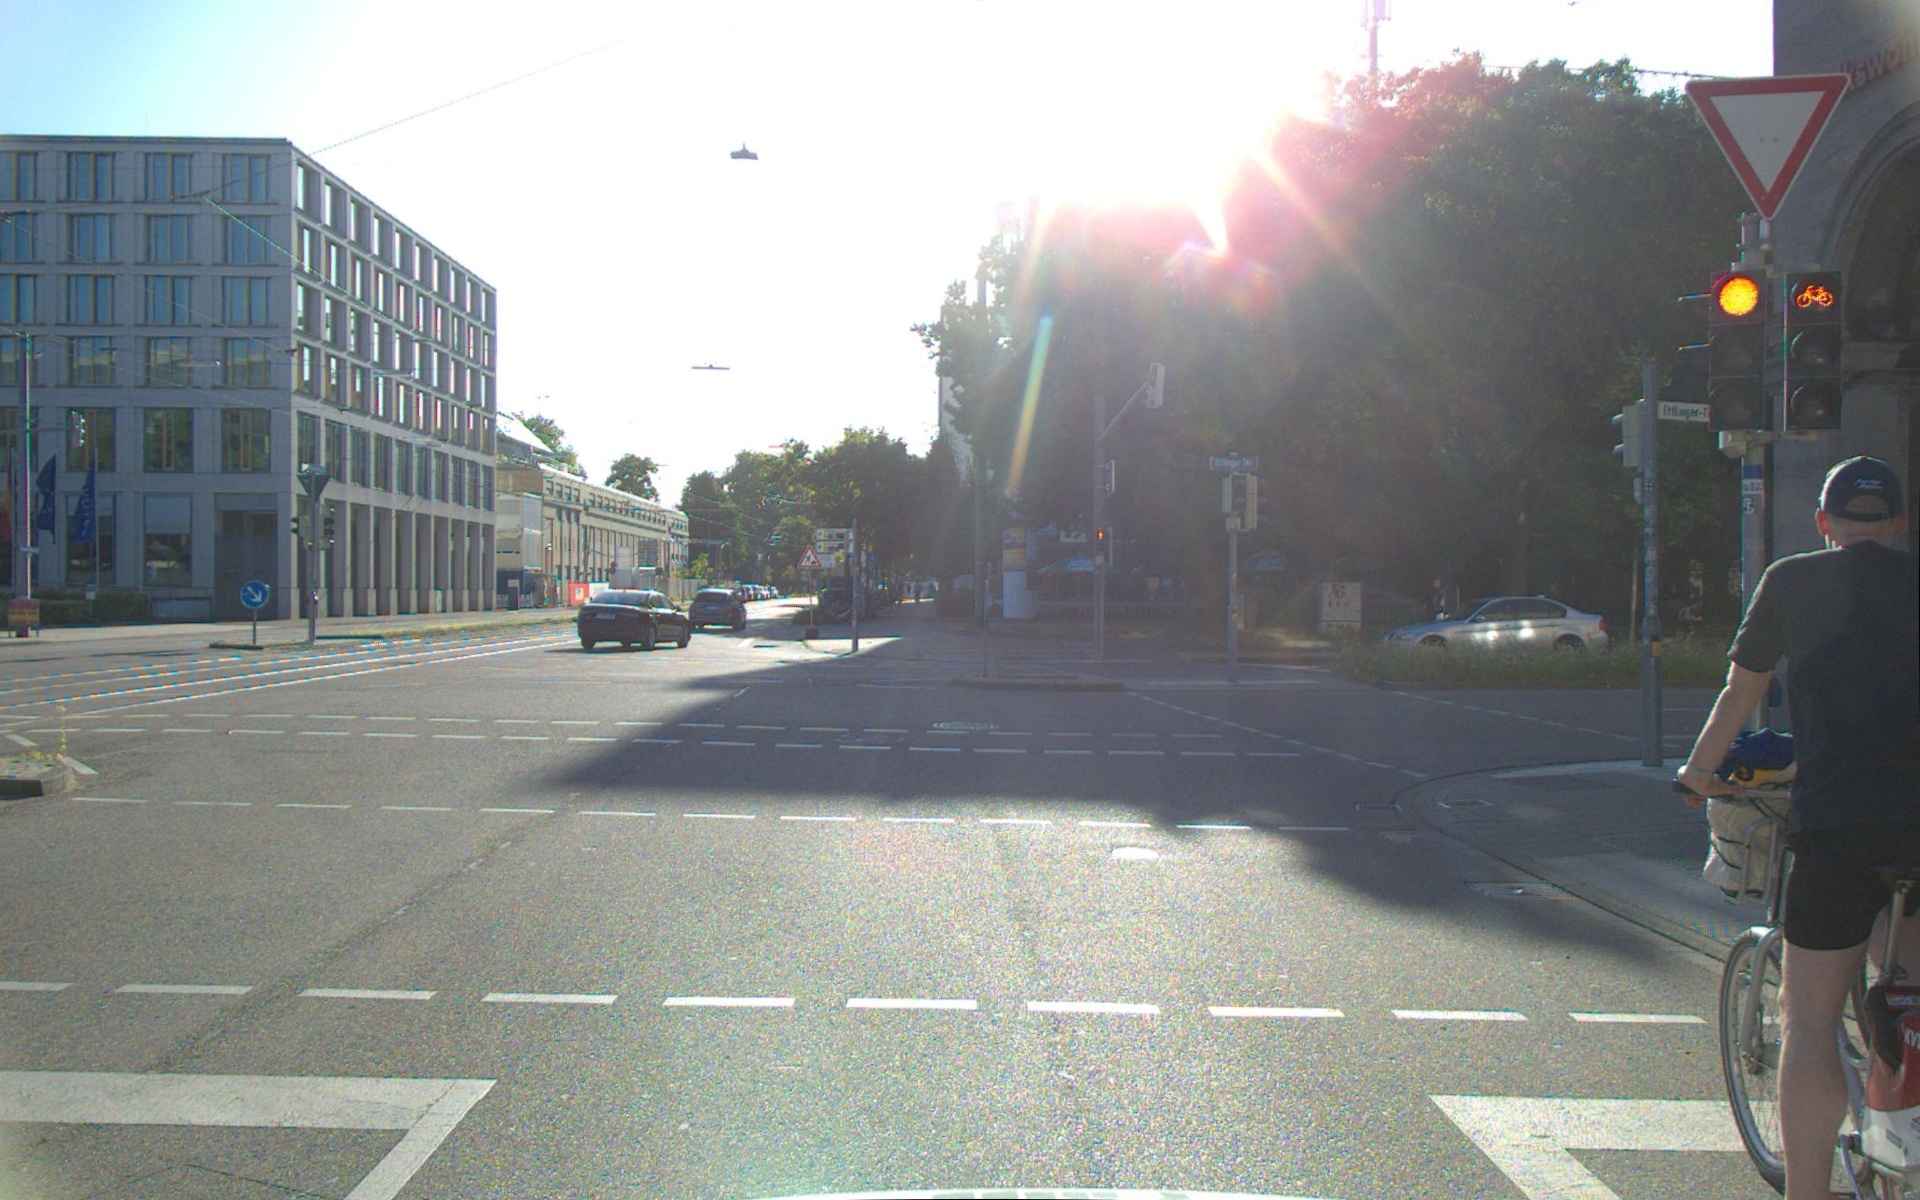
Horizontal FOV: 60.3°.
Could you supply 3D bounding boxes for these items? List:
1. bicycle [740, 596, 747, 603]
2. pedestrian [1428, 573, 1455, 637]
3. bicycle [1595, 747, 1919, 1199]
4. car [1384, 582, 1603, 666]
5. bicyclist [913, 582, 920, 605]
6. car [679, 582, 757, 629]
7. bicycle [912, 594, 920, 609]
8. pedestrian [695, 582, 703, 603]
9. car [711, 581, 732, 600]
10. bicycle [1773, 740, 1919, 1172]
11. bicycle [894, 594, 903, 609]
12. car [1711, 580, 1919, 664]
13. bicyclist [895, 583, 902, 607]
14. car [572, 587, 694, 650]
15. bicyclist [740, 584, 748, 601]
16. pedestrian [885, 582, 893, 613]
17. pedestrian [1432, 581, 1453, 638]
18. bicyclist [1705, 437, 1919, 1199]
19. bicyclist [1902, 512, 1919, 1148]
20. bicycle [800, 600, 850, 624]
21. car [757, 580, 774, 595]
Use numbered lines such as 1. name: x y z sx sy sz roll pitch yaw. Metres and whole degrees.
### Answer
1. bicycle: -17.913 -0.049 136.802 0.491 0.524 1.257 1 0 -2
2. pedestrian: 12.917 0.138 44.352 0.571 1.692 0.514 0 1 1
3. bicycle: 2.072 0.979 3.902 0.505 1.096 1.728 1 0 1
4. car: 10.769 0.473 33.575 3.912 1.639 1.650 0 0 -1
5. bicyclist: -3.176 -0.470 120.806 0.558 1.721 0.699 0 0 -1
6. car: -8.840 0.179 60.849 1.853 1.592 4.810 3 1 3
7. bicycle: -3.189 0.118 120.770 0.563 1.096 1.830 0 0 -1
8. pedestrian: -25.414 -0.727 160.977 0.660 2.049 0.751 1 -1 -3
9. car: -22.486 -0.901 156.123 1.659 1.748 4.244 1 0 -4
10. bicycle: 2.860 0.998 4.350 0.523 1.096 1.750 1 0 -2
11. bicycle: -4.481 0.095 120.635 0.563 1.096 1.830 0 0 -1
12. car: 17.488 0.438 33.563 3.770 1.639 1.650 0 0 -1
13. bicyclist: -4.484 -0.343 120.636 0.558 1.721 0.699 0 0 -1
14. car: -8.242 0.446 42.071 1.625 1.480 4.435 2 0 8
15. bicyclist: -17.888 -0.614 136.897 0.584 1.401 0.637 1 -1 -2
16. pedestrian: -4.205 -0.141 98.201 0.454 1.845 0.502 0 0 -5
17. pedestrian: 13.086 0.257 44.858 0.430 1.529 0.437 0 0 0
18. bicyclist: 2.091 0.577 3.744 0.547 1.830 0.550 1 0 1
19. bicyclist: 2.884 0.626 4.243 0.546 1.721 0.640 1 0 -2
20. bicycle: -5.493 0.504 67.395 1.976 0.907 0.650 -2 -1 27
21. car: -22.848 -1.439 194.372 1.659 1.748 4.244 1 0 -4
